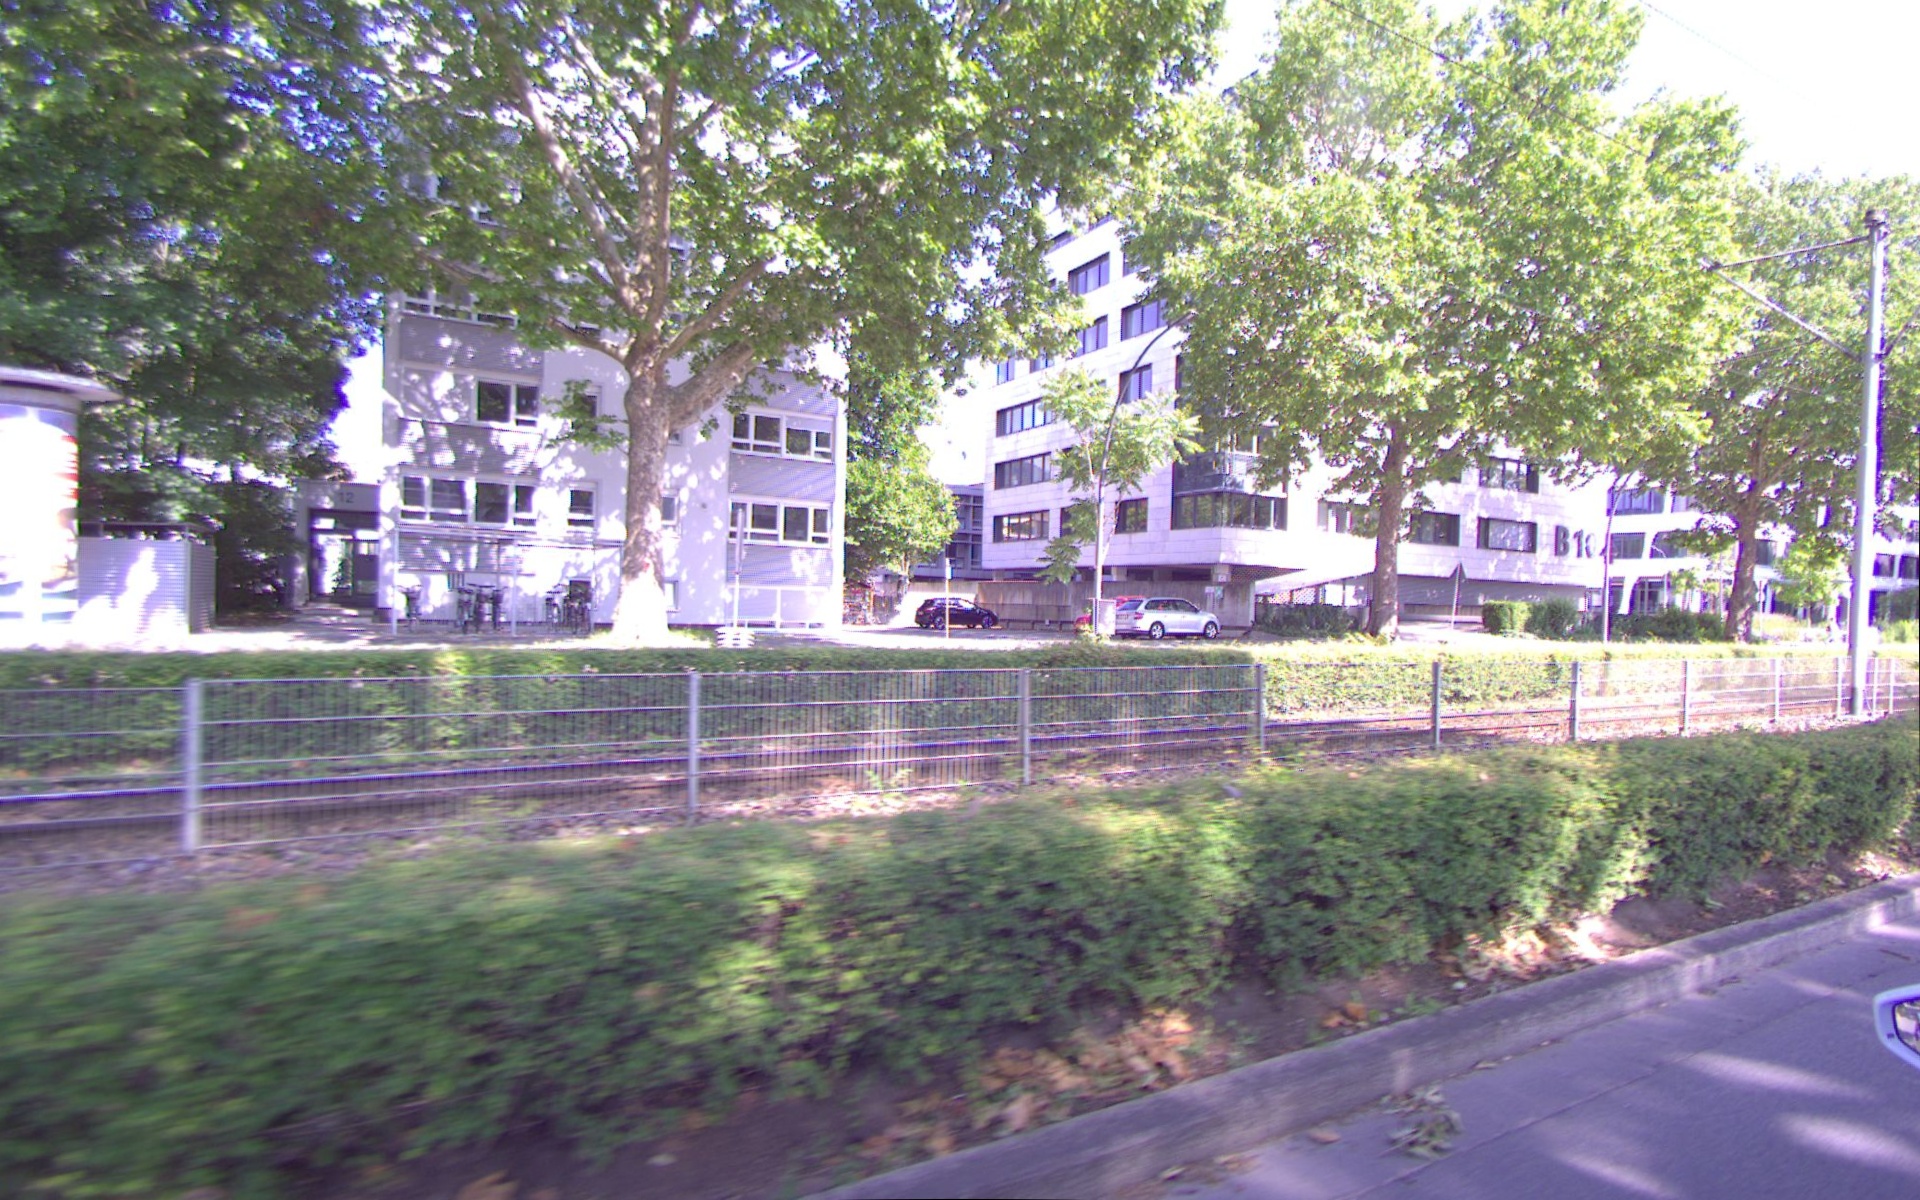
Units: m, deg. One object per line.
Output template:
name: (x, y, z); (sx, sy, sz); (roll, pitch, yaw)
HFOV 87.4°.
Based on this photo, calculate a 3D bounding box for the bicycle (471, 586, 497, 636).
bicycle: (-11.157, 0.249, 23.526); (0.417, 1.117, 1.757); (1, 1, -29)

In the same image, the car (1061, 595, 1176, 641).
car: (5.810, 0.663, 36.812); (3.953, 1.570, 1.734); (2, 0, -30)

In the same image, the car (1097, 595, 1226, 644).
car: (6.957, 0.687, 34.568); (4.298, 1.570, 1.734); (2, 0, -30)

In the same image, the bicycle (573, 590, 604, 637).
bicycle: (-9.203, 0.315, 24.851); (0.417, 1.117, 1.757); (1, 1, -29)

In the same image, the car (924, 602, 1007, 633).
car: (0.265, 0.841, 48.502); (3.710, 1.372, 1.635); (2, 0, -30)

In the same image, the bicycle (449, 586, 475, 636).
bicycle: (-11.566, 0.236, 23.323); (0.417, 1.117, 1.757); (1, 1, -29)

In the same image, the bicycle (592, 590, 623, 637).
bicycle: (-8.807, 0.328, 25.080); (0.417, 1.117, 1.757); (1, 1, -29)

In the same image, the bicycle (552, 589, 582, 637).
bicycle: (-9.622, 0.301, 24.593); (0.417, 1.117, 1.757); (1, 1, -29)

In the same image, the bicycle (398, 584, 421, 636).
bicycle: (-12.492, 0.205, 22.780); (0.417, 1.117, 1.757); (1, 1, -29)

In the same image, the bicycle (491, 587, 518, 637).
bicycle: (-10.781, 0.262, 23.741); (0.417, 1.117, 1.757); (1, 1, -29)

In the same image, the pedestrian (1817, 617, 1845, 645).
pedestrian: (52.389, 1.871, 60.445); (0.994, 1.609, 0.722); (2, 1, 1)
